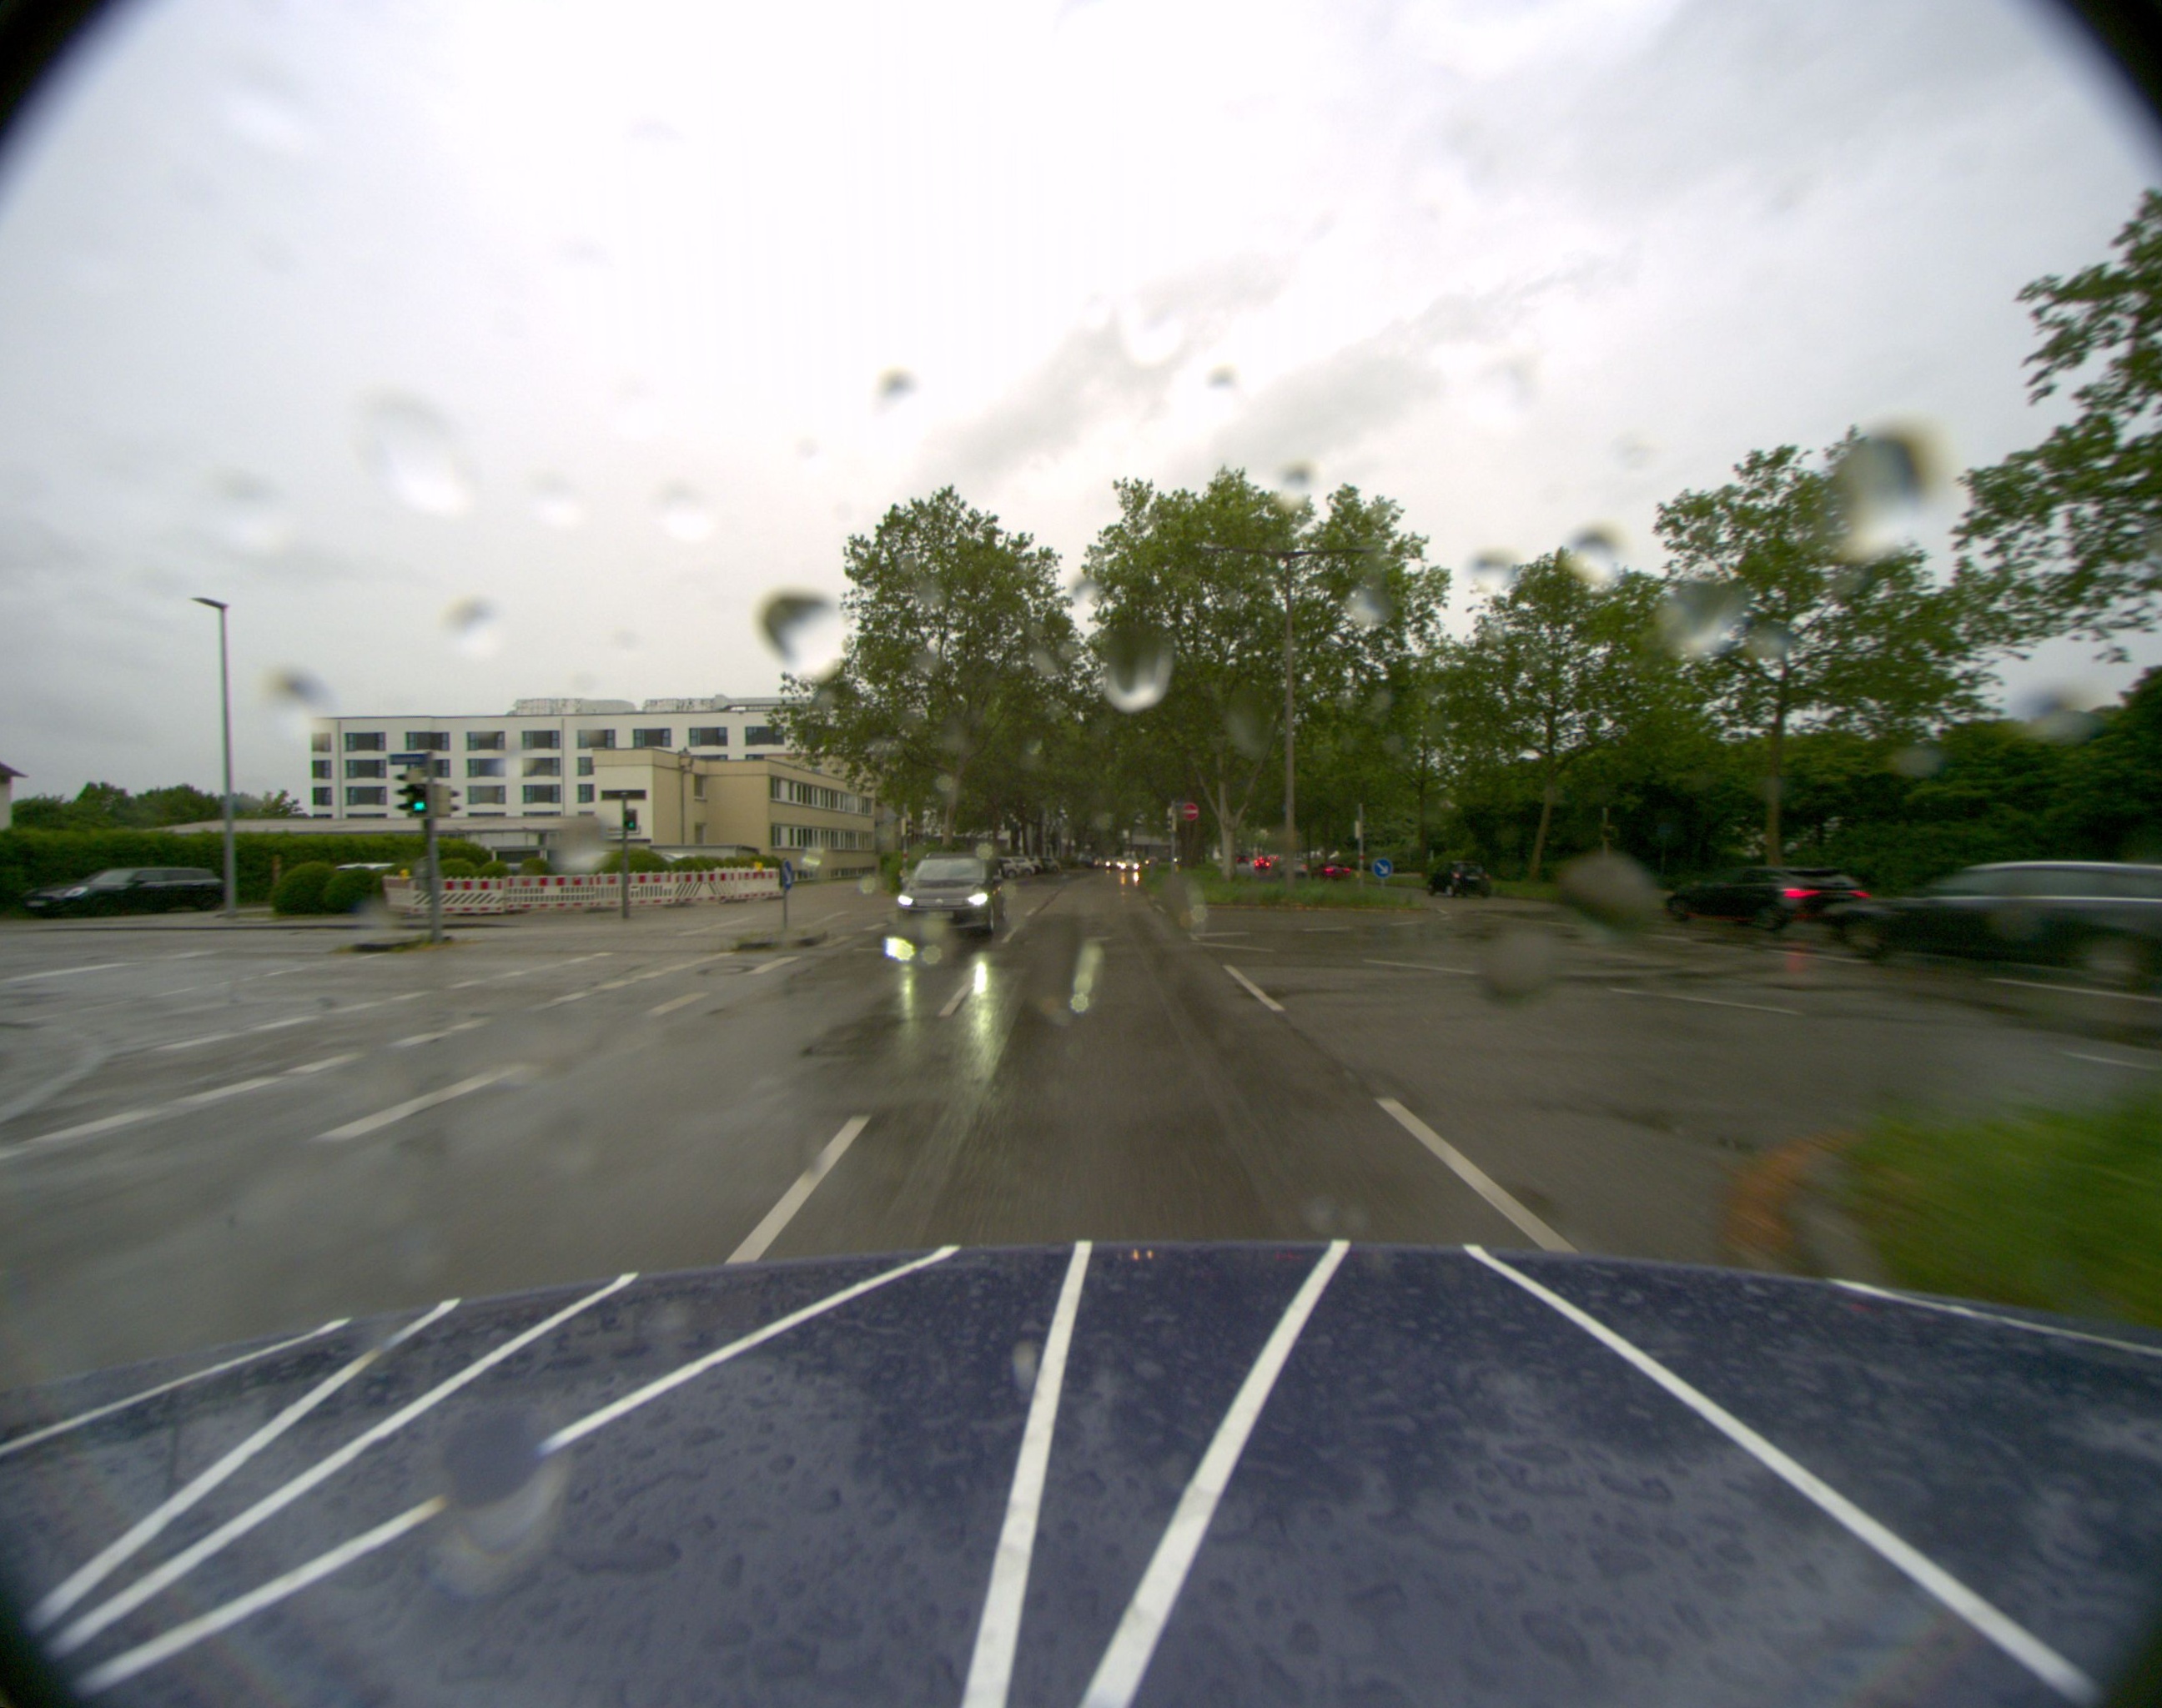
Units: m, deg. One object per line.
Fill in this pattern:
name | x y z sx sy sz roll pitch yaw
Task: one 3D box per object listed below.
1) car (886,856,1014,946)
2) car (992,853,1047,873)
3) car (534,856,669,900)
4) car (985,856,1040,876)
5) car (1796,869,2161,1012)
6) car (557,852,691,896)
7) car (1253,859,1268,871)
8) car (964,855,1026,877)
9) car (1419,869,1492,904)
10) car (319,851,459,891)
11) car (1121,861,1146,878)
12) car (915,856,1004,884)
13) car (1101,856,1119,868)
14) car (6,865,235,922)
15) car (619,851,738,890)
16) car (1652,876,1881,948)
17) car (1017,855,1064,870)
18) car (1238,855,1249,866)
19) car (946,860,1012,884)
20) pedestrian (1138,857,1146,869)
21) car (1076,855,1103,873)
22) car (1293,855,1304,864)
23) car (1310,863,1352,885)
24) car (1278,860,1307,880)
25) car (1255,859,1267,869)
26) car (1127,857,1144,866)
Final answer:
car | -2.606 0.852 16.527 1.999 1.585 5.588 0 0 -2
car | -4.941 0.726 61.144 4.043 1.530 1.745 0 0 -24
car | -18.497 0.902 29.402 4.298 1.581 1.827 0 2 11
car | -5.036 0.885 55.912 3.696 1.408 1.746 0 0 -19
car | 12.488 0.962 9.680 2.008 1.443 4.991 0 0 -1
car | -19.121 0.814 31.903 4.549 1.747 1.780 0 0 0
car | 22.647 1.422 95.997 1.746 1.430 4.450 0 -1 12
car | -5.704 0.781 50.398 3.697 1.408 1.772 0 0 -23
car | 16.166 1.388 32.976 1.591 1.365 3.334 0 0 1
car | -28.697 0.662 31.733 1.824 1.581 4.306 0 0 2
car | 5.288 1.491 75.803 1.997 1.620 4.525 0 0 10
car | -6.608 0.864 41.279 4.500 1.450 1.746 0 0 -19
car | 4.018 1.061 103.891 1.746 1.557 4.376 0 0 12
car | -29.337 1.136 23.439 1.824 1.523 4.062 0 0 2
car | -18.416 0.729 34.846 4.547 1.747 1.749 0 0 3
car | 15.815 1.269 17.886 1.591 1.365 4.262 0 0 1
car | -3.727 0.786 70.301 4.043 1.420 1.745 0 0 -23
car | 29.208 1.124 136.499 1.746 1.831 5.126 0 0 14
car | -6.344 1.101 47.176 3.697 1.408 1.745 0 0 -23
pedestrian | 10.133 1.470 126.270 0.901 2.002 0.832 0 1 -21
car | 1.074 1.148 91.431 2.124 2.016 5.533 0 0 12
car | 54.383 1.285 189.821 2.031 2.213 5.444 0 0 24
car | 17.137 1.362 52.272 1.747 1.400 4.446 0 0 4
car | 18.359 1.347 66.112 1.747 1.622 4.446 0 0 6
car | 27.203 1.509 114.832 1.746 1.467 4.239 0 0 13
car | 8.932 1.207 124.049 1.745 1.420 4.874 0 0 18
